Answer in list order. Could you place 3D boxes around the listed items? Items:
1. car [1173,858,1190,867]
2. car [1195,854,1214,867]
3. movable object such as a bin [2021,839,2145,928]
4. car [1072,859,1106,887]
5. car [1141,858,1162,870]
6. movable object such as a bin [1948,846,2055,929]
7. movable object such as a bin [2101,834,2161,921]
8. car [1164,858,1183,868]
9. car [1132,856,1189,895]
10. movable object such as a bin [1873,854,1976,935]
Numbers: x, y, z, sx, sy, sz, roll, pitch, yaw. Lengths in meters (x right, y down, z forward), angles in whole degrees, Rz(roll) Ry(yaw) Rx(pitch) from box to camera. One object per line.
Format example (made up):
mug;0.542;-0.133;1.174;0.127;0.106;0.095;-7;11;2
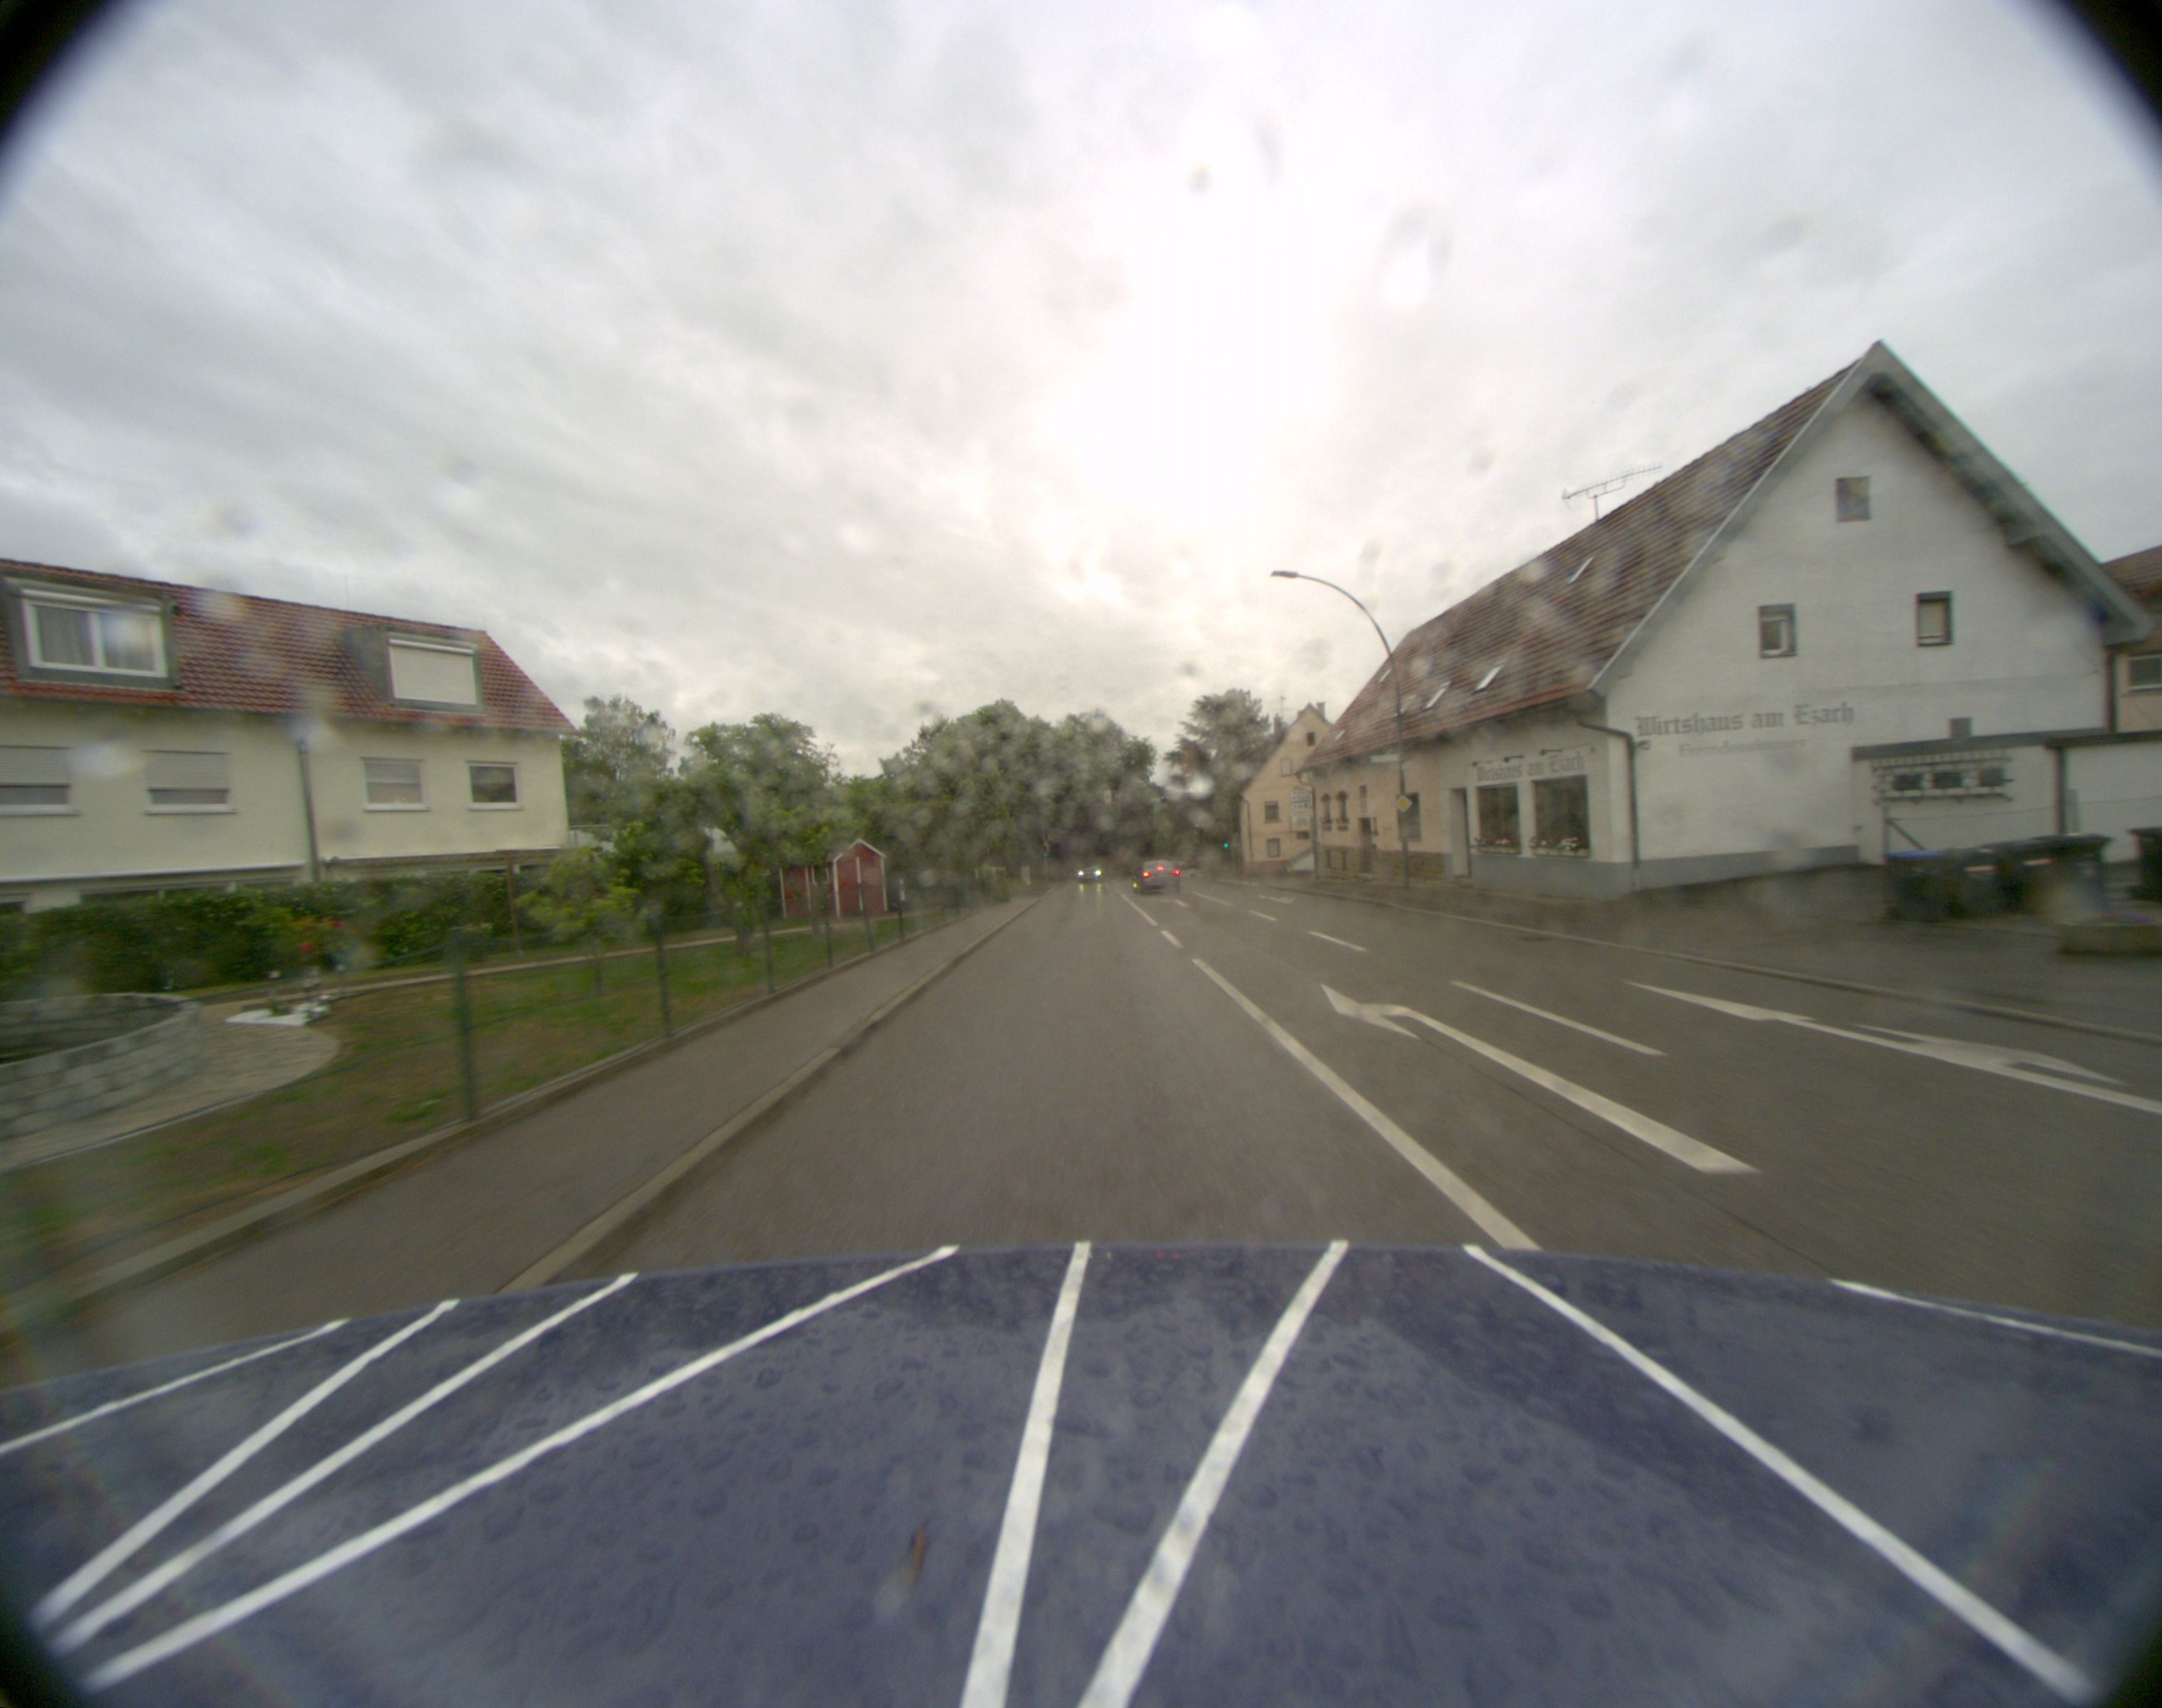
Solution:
car;15.595;1.286;117.957;1.761;1.410;4.159;-1;0;19
car;18.211;0.970;112.125;1.996;1.696;4.006;-2;0;20
movable object such as a bin;12.499;0.360;9.498;0.639;1.026;0.605;-6;0;14
car;0.696;1.474;61.026;1.997;2.002;4.003;-3;1;10
car;9.528;1.312;102.159;1.791;1.524;3.806;-1;0;20
movable object such as a bin;11.826;0.417;9.780;0.639;1.026;0.605;-2;1;14
movable object such as a bin;13.252;0.274;9.320;0.639;1.026;0.605;-2;1;14
car;13.785;1.297;112.926;1.761;1.410;4.160;-1;0;21
car;3.474;0.924;34.061;1.949;1.564;4.226;-2;-1;-1
movable object such as a bin;11.123;0.521;10.042;0.639;1.026;0.674;-2;1;14
